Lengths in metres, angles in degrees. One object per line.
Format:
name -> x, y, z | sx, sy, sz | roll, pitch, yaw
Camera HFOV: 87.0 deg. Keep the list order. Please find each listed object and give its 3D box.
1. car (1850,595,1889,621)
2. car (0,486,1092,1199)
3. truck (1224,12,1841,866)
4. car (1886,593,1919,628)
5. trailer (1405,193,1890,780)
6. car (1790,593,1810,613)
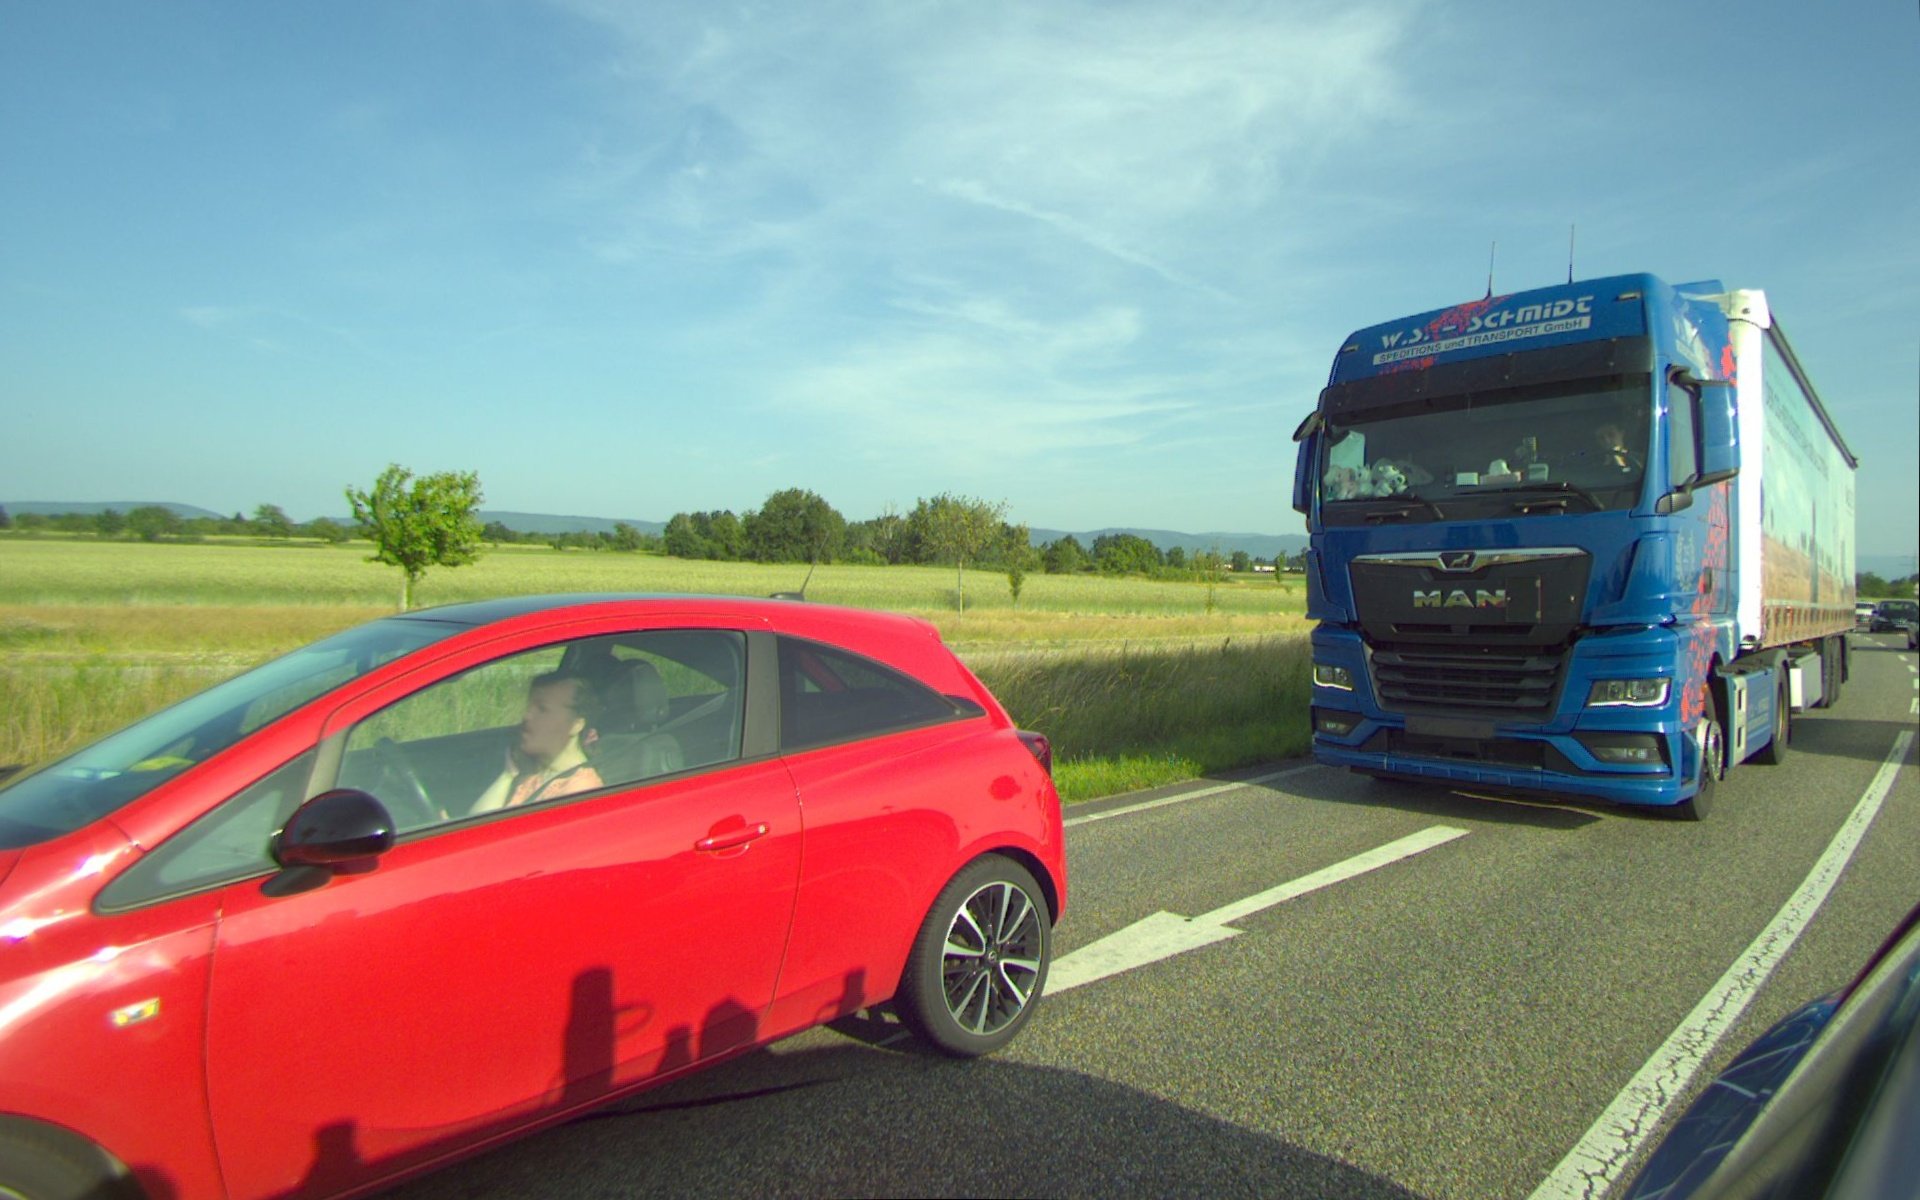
car -> 53.282, 0.452, 59.342 | 1.551, 1.417, 3.977 | 2, 1, 40
car -> -1.451, 0.579, 2.859 | 3.688, 1.568, 1.698 | 0, 1, -44
truck -> 5.217, -0.926, 8.776 | 3.301, 4.716, 5.640 | 0, 1, 45
car -> 44.462, 0.458, 47.345 | 1.551, 1.579, 3.005 | 2, 1, 40
trailer -> 10.308, -1.001, 13.961 | 3.282, 4.740, 12.936 | 0, 1, 44
car -> 88.047, 0.308, 106.078 | 1.551, 1.944, 3.977 | 2, 1, 40
